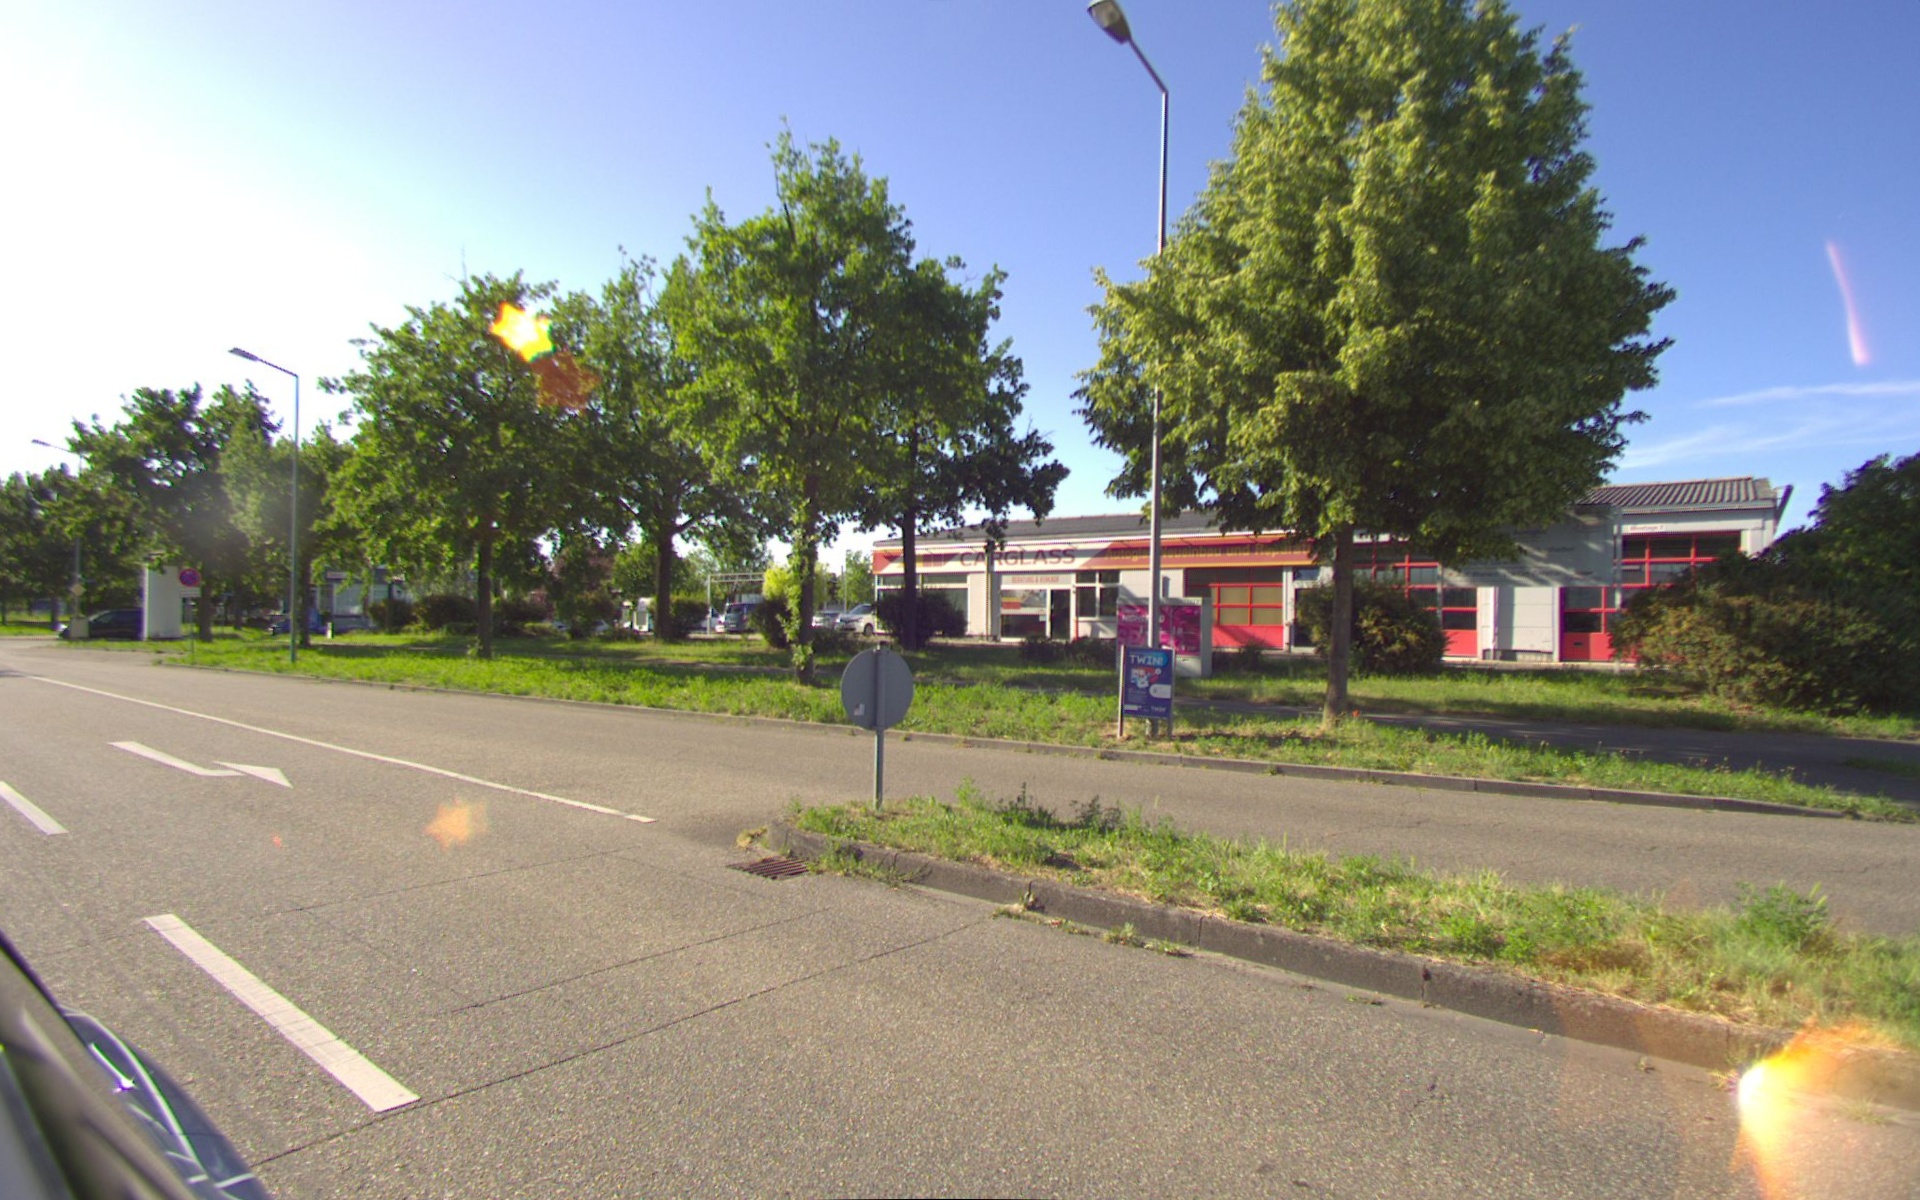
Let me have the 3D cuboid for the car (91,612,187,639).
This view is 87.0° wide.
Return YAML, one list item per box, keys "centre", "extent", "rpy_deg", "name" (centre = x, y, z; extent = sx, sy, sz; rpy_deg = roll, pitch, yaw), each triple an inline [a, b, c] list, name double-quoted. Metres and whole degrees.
- centre: [-47.127, 1.456, 58.161]
  extent: [4.152, 1.497, 1.779]
  rpy_deg: [1, -1, -44]
  name: "car"

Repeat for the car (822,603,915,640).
- centre: [-4.197, 0.967, 46.950]
  extent: [1.995, 1.599, 4.186]
  rpy_deg: [-1, 0, 39]
  name: "car"

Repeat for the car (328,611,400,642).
- centre: [-40.906, 1.823, 69.538]
  extent: [3.938, 2.029, 2.003]
  rpy_deg: [2, -2, -41]
  name: "car"

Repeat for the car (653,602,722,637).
- centre: [-18.106, 1.300, 67.384]
  extent: [1.775, 2.234, 4.161]
  rpy_deg: [-1, -2, 38]
  name: "car"

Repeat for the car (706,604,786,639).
- centre: [-12.945, 1.266, 61.326]
  extent: [1.996, 1.960, 4.433]
  rpy_deg: [-1, 0, 41]
  name: "car"
